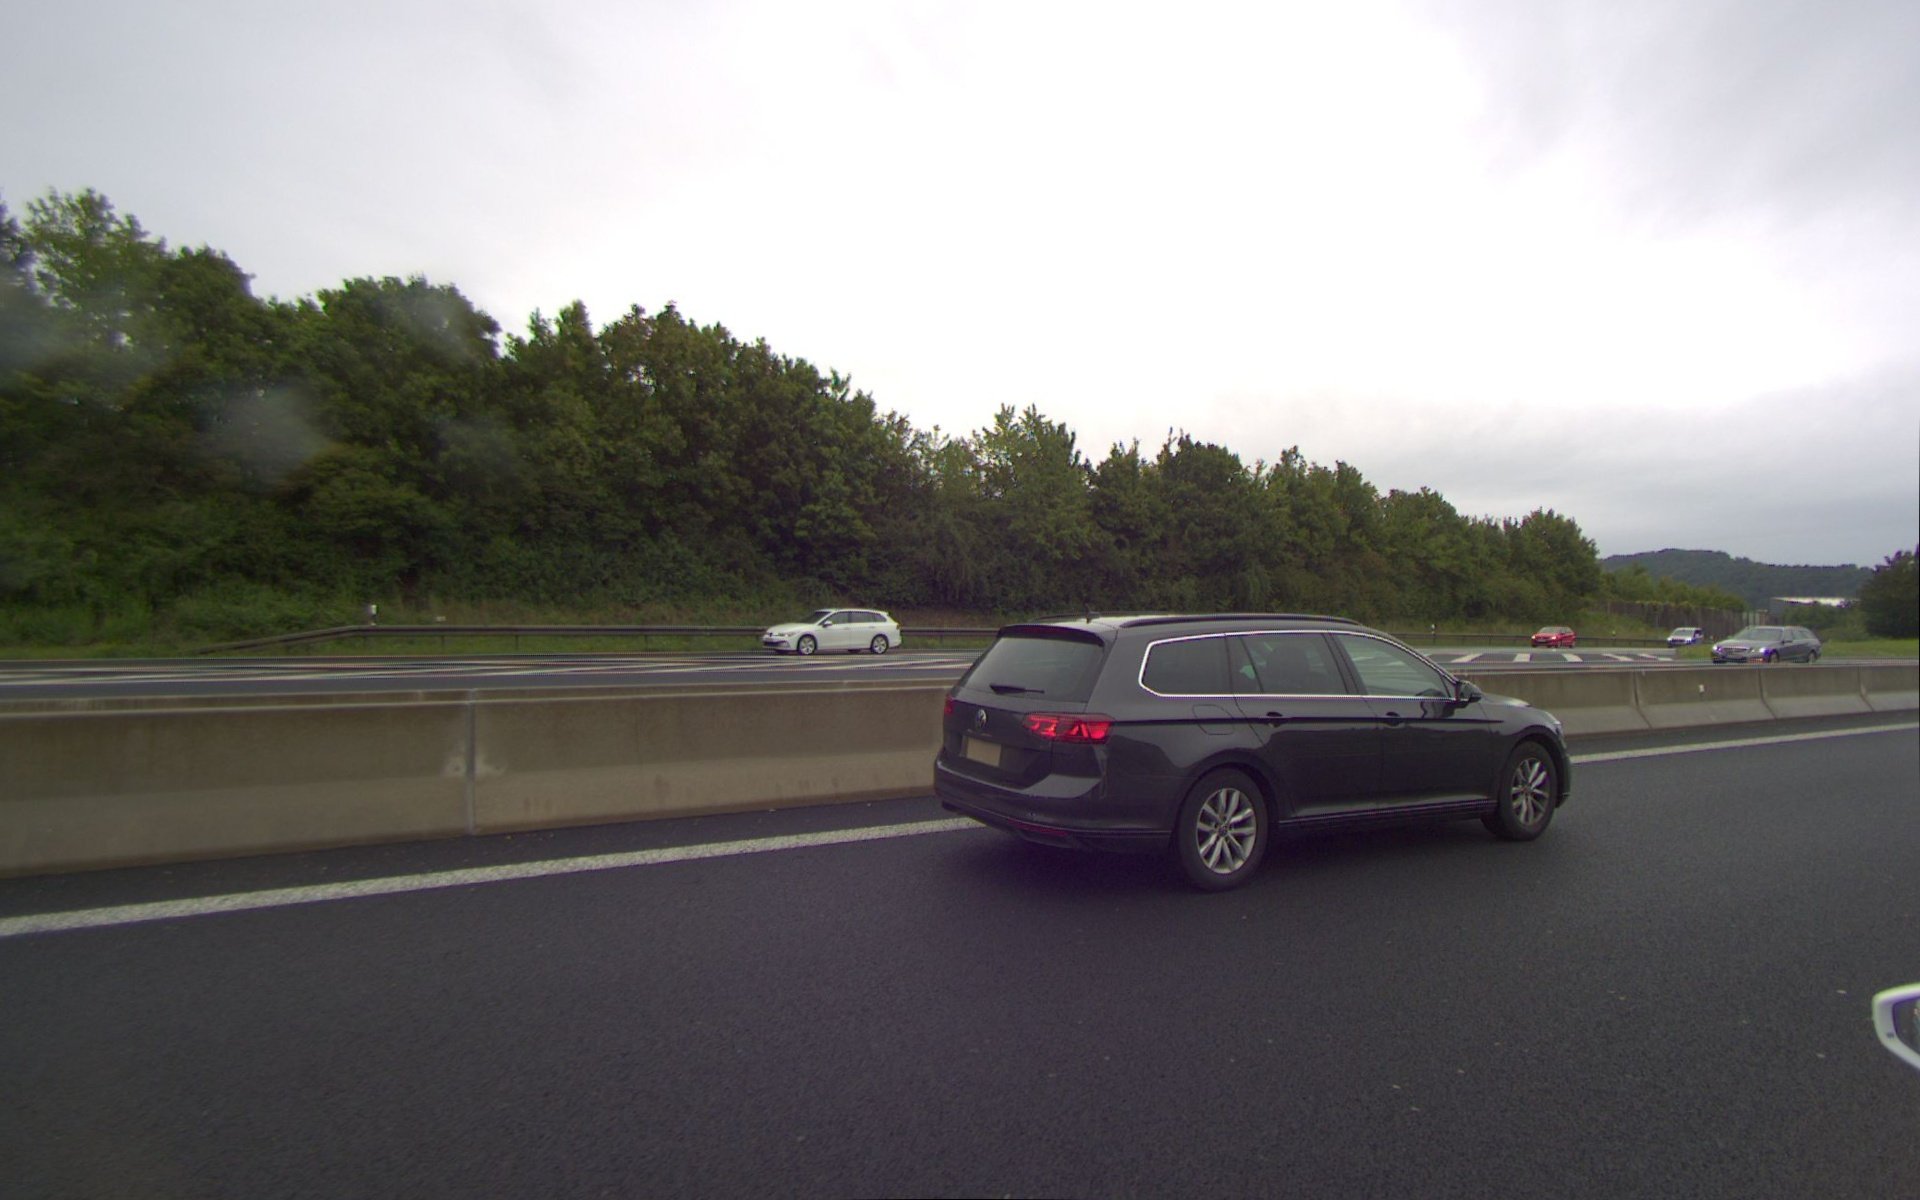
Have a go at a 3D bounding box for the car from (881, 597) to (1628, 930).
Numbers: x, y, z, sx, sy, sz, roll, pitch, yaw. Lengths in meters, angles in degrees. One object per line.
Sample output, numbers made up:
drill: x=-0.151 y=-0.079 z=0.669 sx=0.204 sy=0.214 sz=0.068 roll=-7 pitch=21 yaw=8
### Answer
car: x=2.058 y=0.810 z=6.593 sx=4.792 sy=1.517 sz=1.892 roll=2 pitch=-1 yaw=-29

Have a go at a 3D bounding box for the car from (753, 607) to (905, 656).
car: x=-4.153 y=0.983 z=32.090 sx=4.351 sy=1.449 sz=2.162 roll=2 pitch=-1 yaw=-39

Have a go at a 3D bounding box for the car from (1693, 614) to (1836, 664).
car: x=29.862 y=1.421 z=37.257 sx=5.181 sy=1.718 sz=2.172 roll=1 pitch=-1 yaw=-27

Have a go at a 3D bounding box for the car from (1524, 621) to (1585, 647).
car: x=40.421 y=2.296 z=68.255 sx=4.588 sy=1.718 sz=2.162 roll=1 pitch=-1 yaw=-39

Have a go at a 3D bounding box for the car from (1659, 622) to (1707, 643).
car: x=62.153 y=2.814 z=86.333 sx=4.527 sy=1.718 sz=2.164 roll=1 pitch=-1 yaw=-38
